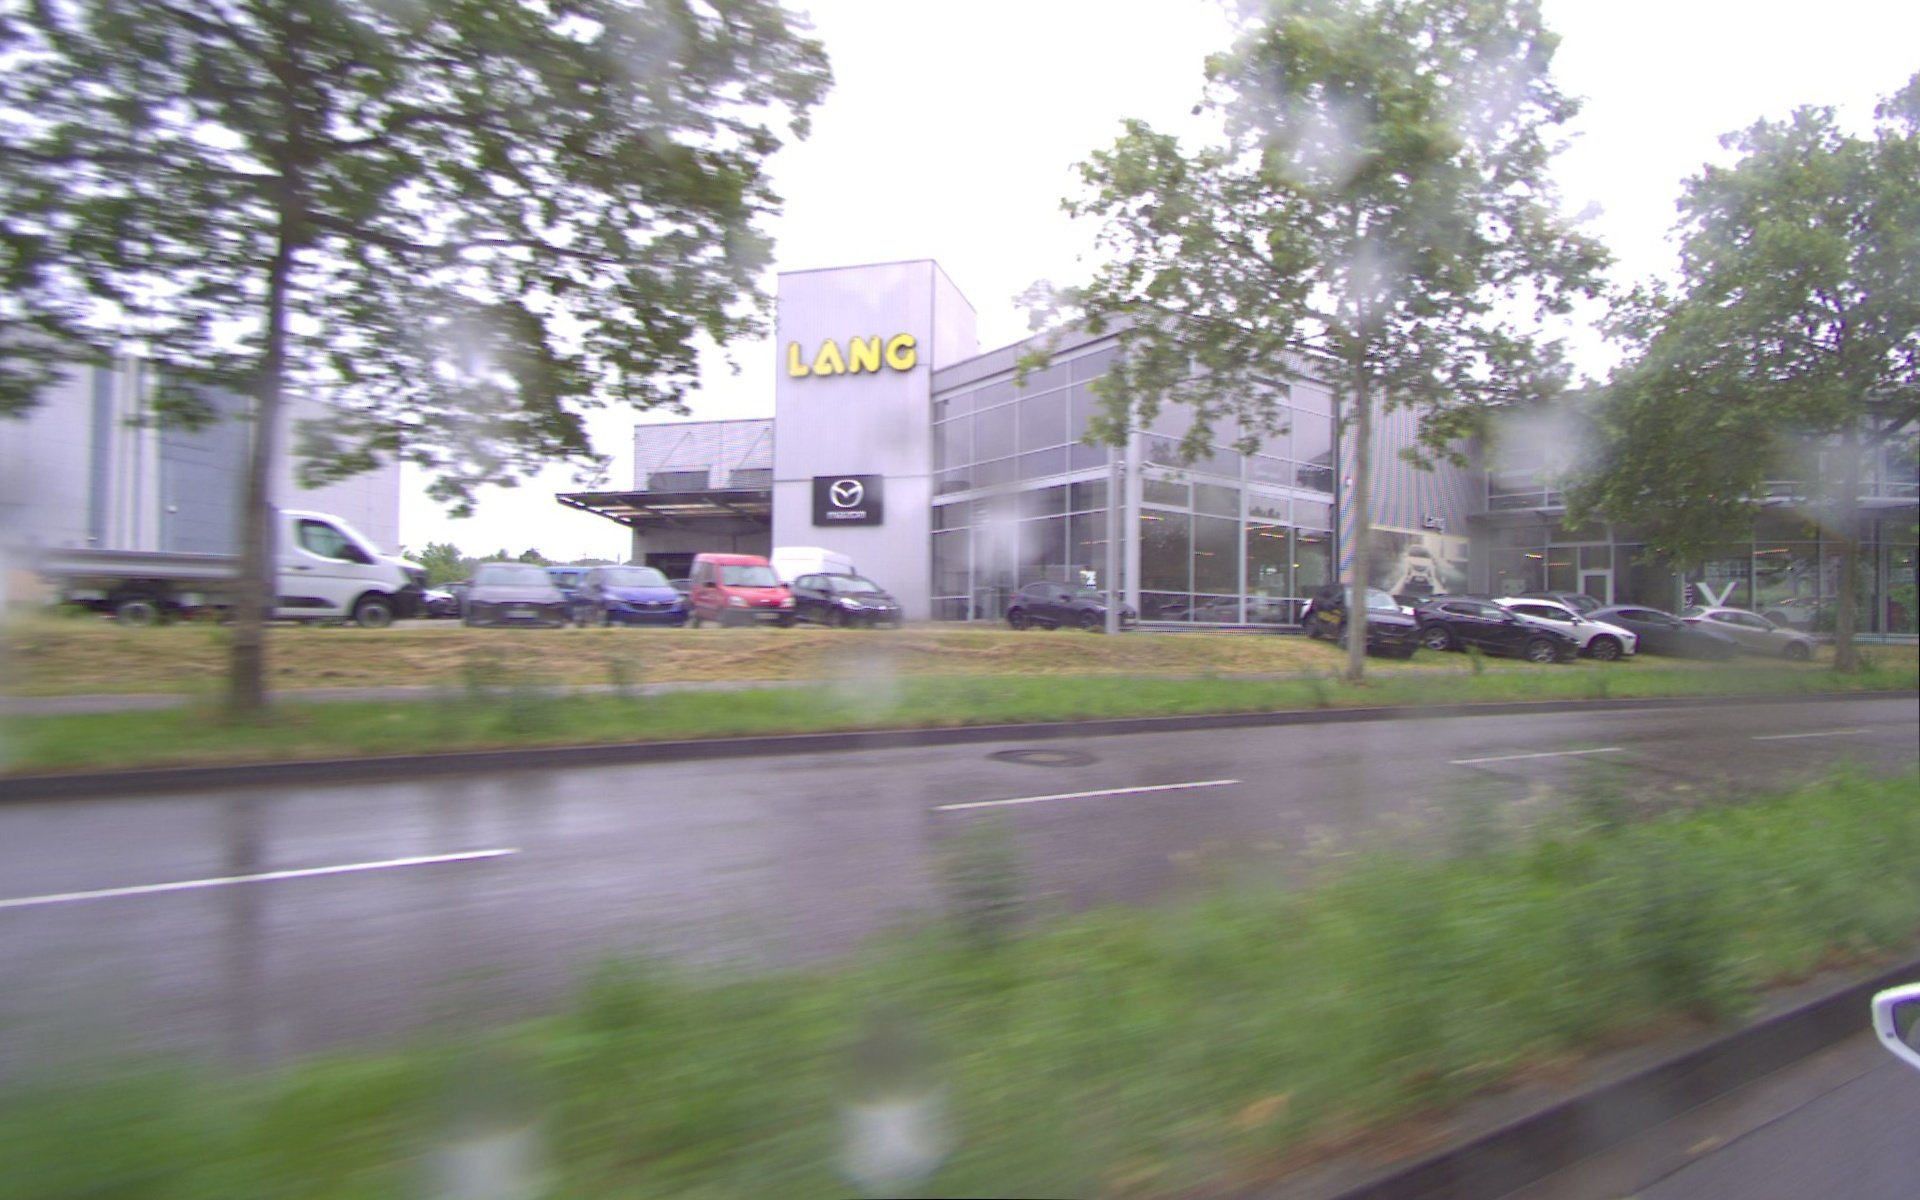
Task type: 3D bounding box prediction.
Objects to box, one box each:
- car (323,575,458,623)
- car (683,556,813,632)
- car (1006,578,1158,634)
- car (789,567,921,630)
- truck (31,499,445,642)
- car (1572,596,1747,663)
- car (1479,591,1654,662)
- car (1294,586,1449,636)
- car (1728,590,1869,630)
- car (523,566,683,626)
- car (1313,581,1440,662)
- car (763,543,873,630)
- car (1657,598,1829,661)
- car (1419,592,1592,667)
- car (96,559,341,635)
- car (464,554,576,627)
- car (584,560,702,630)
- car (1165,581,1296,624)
[{"bbox_3d":[-21.506,-0.048,38.100,4.085,1.752,1.764,0,1,-13],"label":"car"},{"bbox_3d":[-4.990,-0.207,23.244,1.826,1.578,3.976,0,3,-30],"label":"car"},{"bbox_3d":[3.434,0.126,28.584,3.950,1.376,1.837,3,3,42],"label":"car"},{"bbox_3d":[-2.707,-0.085,25.058,1.826,1.376,3.976,0,3,-30],"label":"car"},{"bbox_3d":[-13.348,-0.544,19.244,6.120,2.376,2.236,0,3,-30],"label":"truck"},{"bbox_3d":[21.618,0.870,31.247,4.052,1.442,1.845,6,7,24],"label":"car"},{"bbox_3d":[17.907,0.727,29.891,4.049,1.499,1.846,6,7,21],"label":"car"},{"bbox_3d":[13.292,0.345,32.716,1.899,1.493,4.397,1,-1,-32],"label":"car"},{"bbox_3d":[33.746,0.402,40.528,4.029,1.495,1.786,1,0,7],"label":"car"},{"bbox_3d":[-11.604,-0.146,32.750,4.559,1.788,1.821,2,1,9],"label":"car"},{"bbox_3d":[11.388,0.503,27.832,1.811,1.578,4.436,4,6,3],"label":"car"},{"bbox_3d":[-4.884,-0.446,35.484,2.127,2.789,5.341,2,1,11],"label":"car"},{"bbox_3d":[25.528,0.927,32.903,3.920,1.496,1.784,5,7,15],"label":"car"},{"bbox_3d":[15.366,0.771,28.464,4.055,1.499,1.844,7,7,28],"label":"car"},{"bbox_3d":[-15.848,-0.081,21.687,4.118,1.487,1.750,0,1,-37],"label":"car"},{"bbox_3d":[-9.093,-0.253,20.628,1.747,1.344,3.505,0,3,-30],"label":"car"},{"bbox_3d":[-6.984,-0.154,21.904,1.747,1.344,3.505,0,3,-30],"label":"car"},{"bbox_3d":[9.916,0.106,37.081,1.904,1.493,4.386,1,-1,-39],"label":"car"}]
